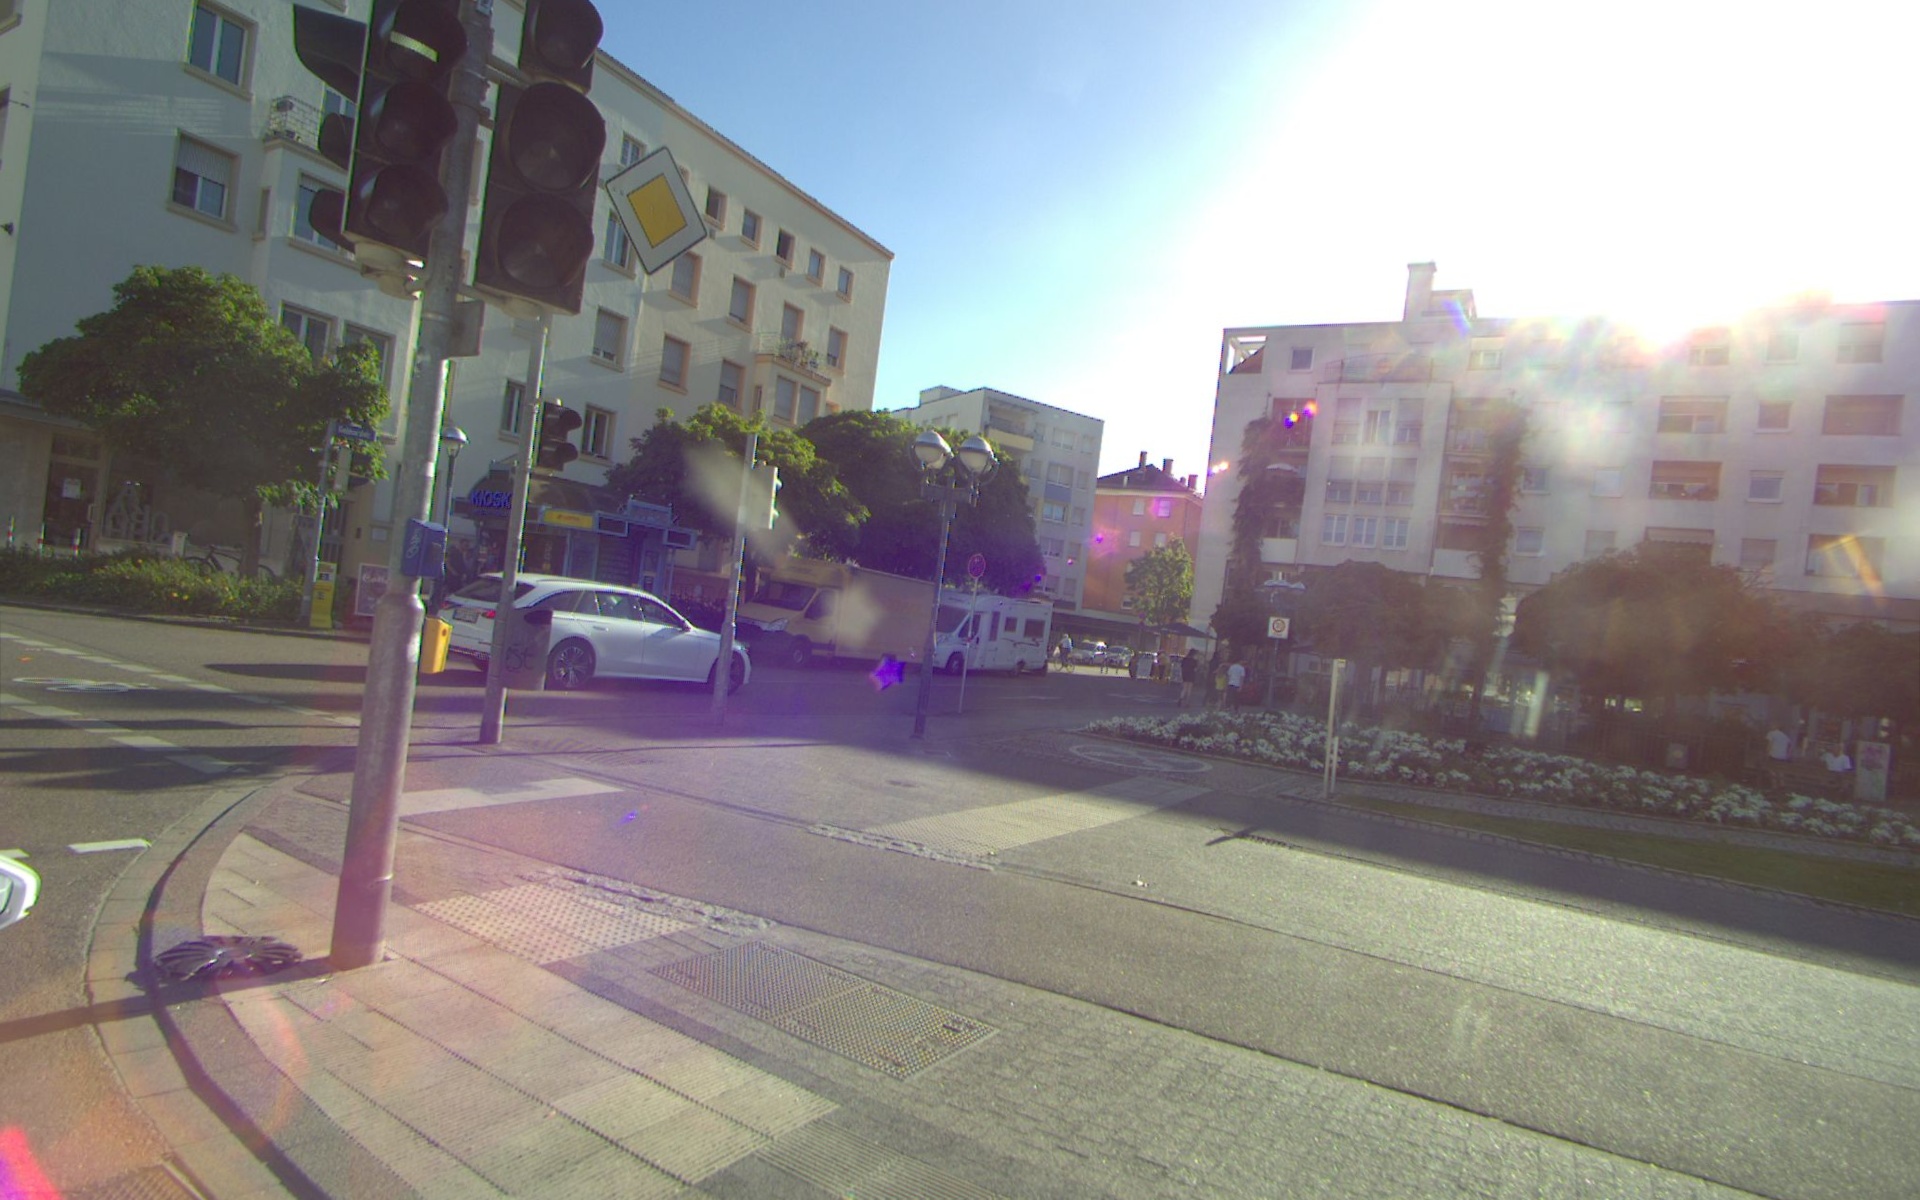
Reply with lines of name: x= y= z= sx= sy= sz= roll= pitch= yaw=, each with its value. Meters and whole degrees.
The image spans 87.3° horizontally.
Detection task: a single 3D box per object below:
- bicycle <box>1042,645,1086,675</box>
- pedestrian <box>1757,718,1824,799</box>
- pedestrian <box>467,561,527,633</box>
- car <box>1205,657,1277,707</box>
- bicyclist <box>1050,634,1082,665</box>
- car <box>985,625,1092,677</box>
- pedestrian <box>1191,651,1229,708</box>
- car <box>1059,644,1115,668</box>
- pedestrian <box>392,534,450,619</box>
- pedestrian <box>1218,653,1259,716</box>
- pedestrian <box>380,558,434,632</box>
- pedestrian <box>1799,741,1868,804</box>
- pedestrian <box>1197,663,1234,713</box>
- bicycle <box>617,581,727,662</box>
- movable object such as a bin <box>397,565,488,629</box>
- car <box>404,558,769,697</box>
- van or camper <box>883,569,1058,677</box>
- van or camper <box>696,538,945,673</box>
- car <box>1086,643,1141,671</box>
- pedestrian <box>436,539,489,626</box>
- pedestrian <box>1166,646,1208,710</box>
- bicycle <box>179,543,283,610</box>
bicycle: x=4.781 y=2.755 z=46.380 sx=0.713 sy=1.073 sz=2.307 roll=9 pitch=-2 yaw=-28
pedestrian: x=19.843 y=3.765 z=24.058 sx=0.661 sy=1.745 sz=1.028 roll=7 pitch=0 yaw=11
pedestrian: x=-10.185 y=-0.056 z=22.141 sx=0.742 sy=1.427 sz=0.731 roll=11 pitch=2 yaw=31
car: x=10.509 y=3.043 z=37.426 sx=1.963 sy=1.503 sz=4.000 roll=7 pitch=-1 yaw=23
bicyclist: x=4.865 y=2.270 z=46.298 sx=0.944 sy=1.239 sz=0.927 roll=9 pitch=-2 yaw=-29
car: x=3.107 y=2.017 z=39.232 sx=1.973 sy=1.529 sz=3.982 roll=6 pitch=-3 yaw=43
pedestrian: x=7.529 y=2.396 z=30.280 sx=0.651 sy=1.605 sz=0.902 roll=7 pitch=0 yaw=35
car: x=8.365 y=3.702 z=65.998 sx=1.798 sy=1.165 sz=3.986 roll=6 pitch=-2 yaw=38
pedestrian: x=-12.570 y=-0.540 z=23.472 sx=0.667 sy=1.861 sz=0.785 roll=7 pitch=0 yaw=35
pedestrian: x=7.625 y=2.318 z=27.510 sx=0.651 sy=1.605 sz=0.902 roll=7 pitch=0 yaw=35
pedestrian: x=-10.835 y=-0.098 z=19.700 sx=0.736 sy=1.332 sz=0.622 roll=7 pitch=0 yaw=-35
pedestrian: x=21.100 y=4.145 z=24.314 sx=0.718 sy=1.287 sz=1.042 roll=7 pitch=0 yaw=11
pedestrian: x=7.137 y=2.465 z=28.116 sx=0.595 sy=1.295 sz=0.902 roll=7 pitch=0 yaw=35
bicycle: x=-6.501 y=0.528 z=22.846 sx=0.714 sy=1.548 sz=2.391 roll=7 pitch=-2 yaw=30
movable object such as a bin: x=-11.124 y=-0.053 z=21.648 sx=1.197 sy=1.167 sz=1.200 roll=7 pitch=-1 yaw=32
car: x=-5.265 y=0.508 z=14.943 sx=1.958 sy=1.481 sz=4.810 roll=7 pitch=-2 yaw=31
van or camper: x=0.517 y=0.867 z=33.215 sx=2.340 sy=2.873 sz=6.410 roll=7 pitch=-1 yaw=35
van or camper: x=-3.461 y=0.305 z=27.105 sx=2.331 sy=2.780 sz=7.132 roll=9 pitch=0 yaw=32
car: x=10.838 y=4.020 z=70.742 sx=1.970 sy=1.515 sz=3.986 roll=6 pitch=-1 yaw=38
pedestrian: x=-11.294 y=-0.389 z=22.844 sx=0.649 sy=1.861 sz=0.653 roll=7 pitch=0 yaw=35
pedestrian: x=6.439 y=2.227 z=28.542 sx=0.684 sy=1.705 sz=0.902 roll=7 pitch=0 yaw=35
bicycle: x=-14.660 y=-0.467 z=20.256 sx=0.296 sy=1.133 sz=1.566 roll=6 pitch=-2 yaw=42
